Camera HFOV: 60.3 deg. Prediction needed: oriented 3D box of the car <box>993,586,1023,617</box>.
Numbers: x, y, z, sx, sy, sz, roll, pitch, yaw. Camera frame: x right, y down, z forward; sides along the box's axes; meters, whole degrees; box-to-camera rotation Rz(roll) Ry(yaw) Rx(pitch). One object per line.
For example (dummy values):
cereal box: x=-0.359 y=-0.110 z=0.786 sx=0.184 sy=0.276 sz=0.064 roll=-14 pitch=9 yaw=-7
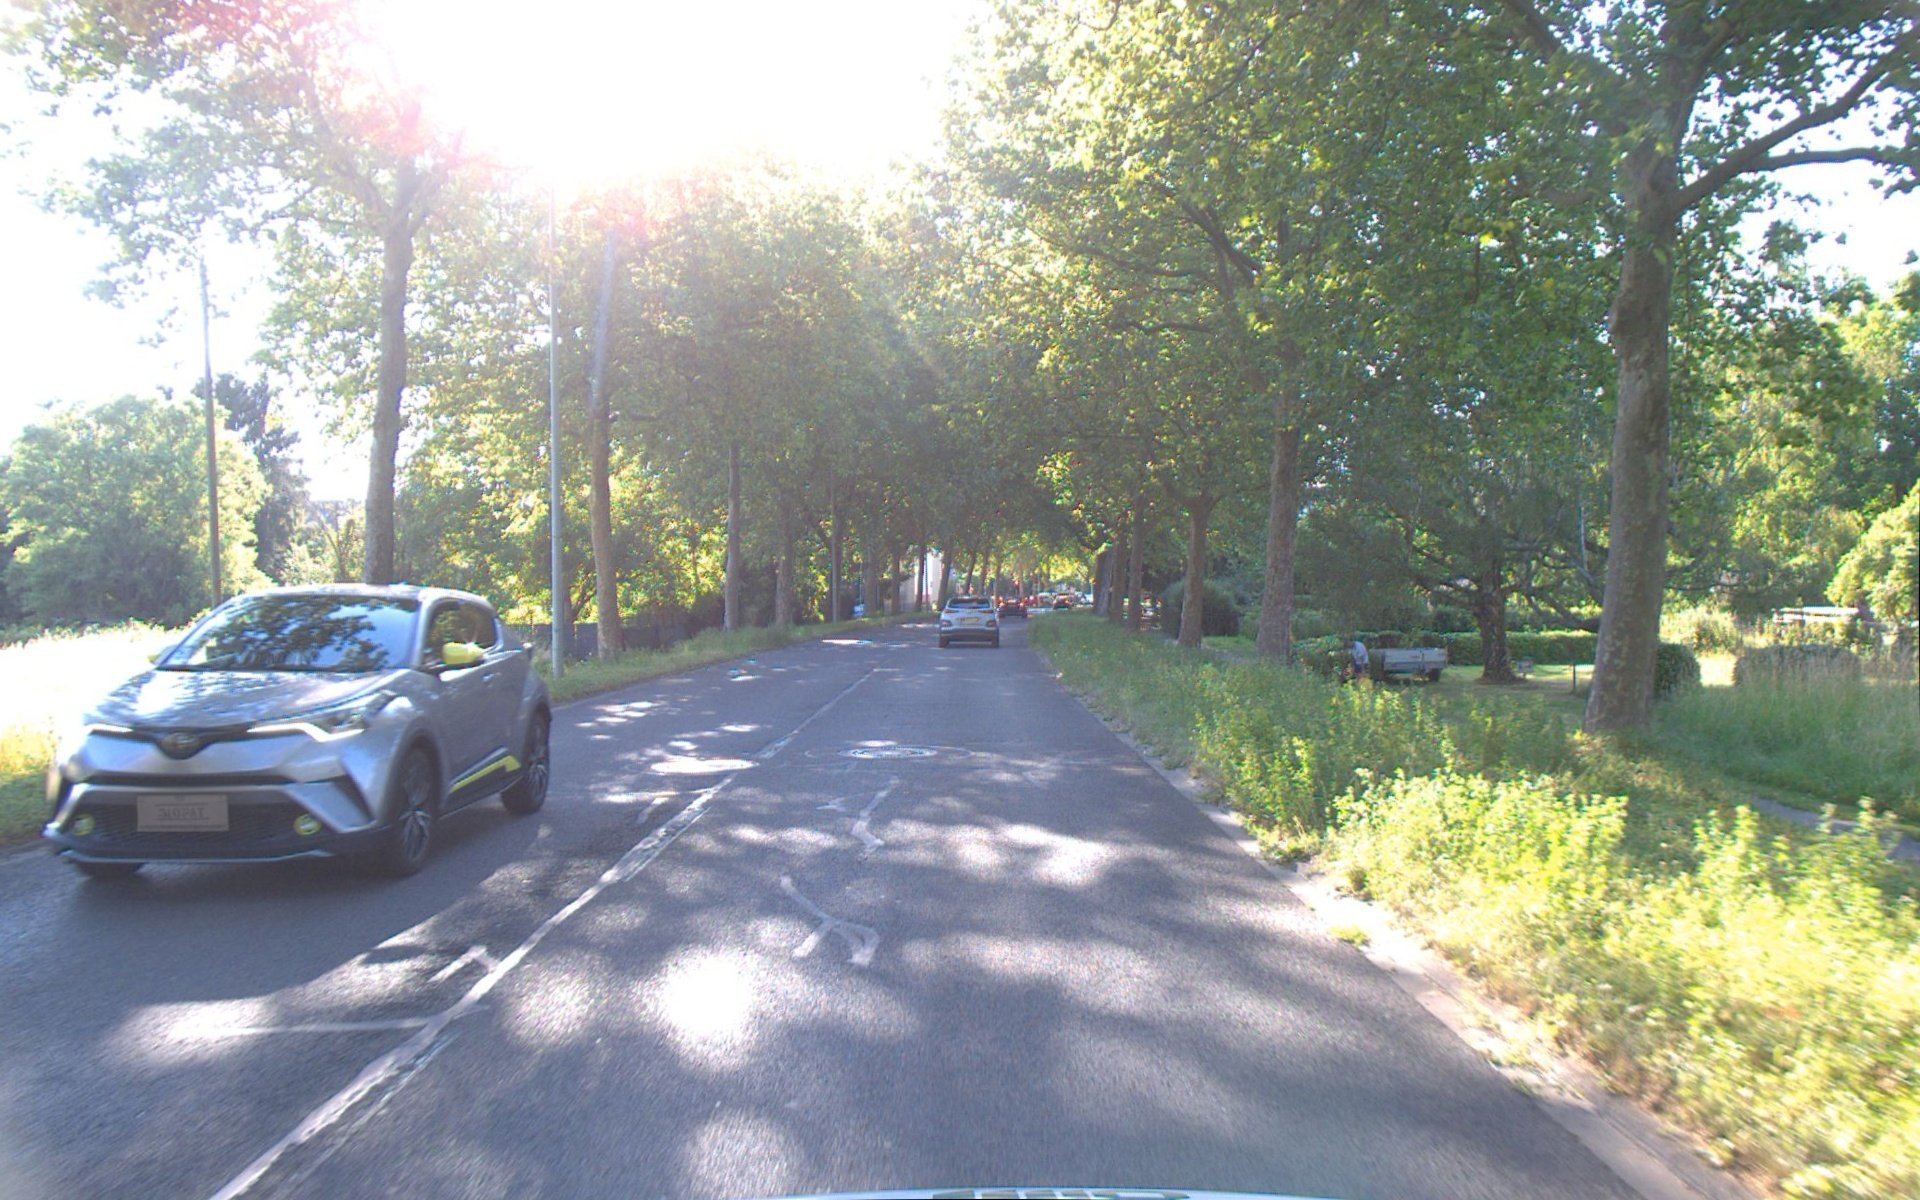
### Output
car: x=3.243 y=0.125 z=111.507 sx=1.952 sy=2.049 sz=4.001 roll=0 pitch=-1 yaw=2

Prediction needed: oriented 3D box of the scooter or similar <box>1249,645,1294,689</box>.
scooter or similar: x=8.473 y=1.815 z=44.987 sx=1.587 sy=1.155 sz=0.335 roll=1 pitch=-1 yaw=-44

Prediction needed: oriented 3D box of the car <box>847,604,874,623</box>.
car: x=-7.835 y=1.047 z=129.968 sx=1.715 sy=1.327 sz=4.001 roll=-2 pitch=1 yaw=2

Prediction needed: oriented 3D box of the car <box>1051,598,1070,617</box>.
car: x=10.597 y=0.806 z=175.225 sx=1.952 sy=2.049 sz=4.001 roll=0 pitch=-1 yaw=3

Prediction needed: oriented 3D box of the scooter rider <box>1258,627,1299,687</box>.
scooter rider: x=8.682 y=1.546 z=45.085 sx=0.771 sy=1.604 sz=0.840 roll=0 pitch=-1 yaw=42

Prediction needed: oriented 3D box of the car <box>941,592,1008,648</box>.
car: x=0.468 y=0.600 z=50.152 sx=1.952 sy=1.602 sz=4.000 roll=0 pitch=0 yaw=1

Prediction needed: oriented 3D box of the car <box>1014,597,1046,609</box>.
car: x=9.124 y=0.352 z=215.235 sx=3.902 sy=1.504 sz=2.002 roll=0 pitch=-1 yaw=8

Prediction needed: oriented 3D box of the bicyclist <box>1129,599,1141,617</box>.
bicyclist: x=13.607 y=0.643 z=128.637 sx=0.720 sy=1.390 sz=0.769 roll=1 pitch=-1 yaw=-9

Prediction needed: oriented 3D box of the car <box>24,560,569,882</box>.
car: x=-3.654 y=0.600 z=9.939 sx=1.680 sy=1.531 sz=3.999 roll=0 pitch=-1 yaw=-1

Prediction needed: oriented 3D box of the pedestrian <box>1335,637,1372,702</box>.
pedestrian: x=9.974 y=1.742 z=41.935 sx=0.824 sy=1.604 sz=1.208 roll=0 pitch=-1 yaw=9

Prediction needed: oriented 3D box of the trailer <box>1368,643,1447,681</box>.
trailer: x=13.087 y=1.811 z=48.449 sx=2.073 sy=1.071 sz=1.201 roll=0 pitch=-1 yaw=5
